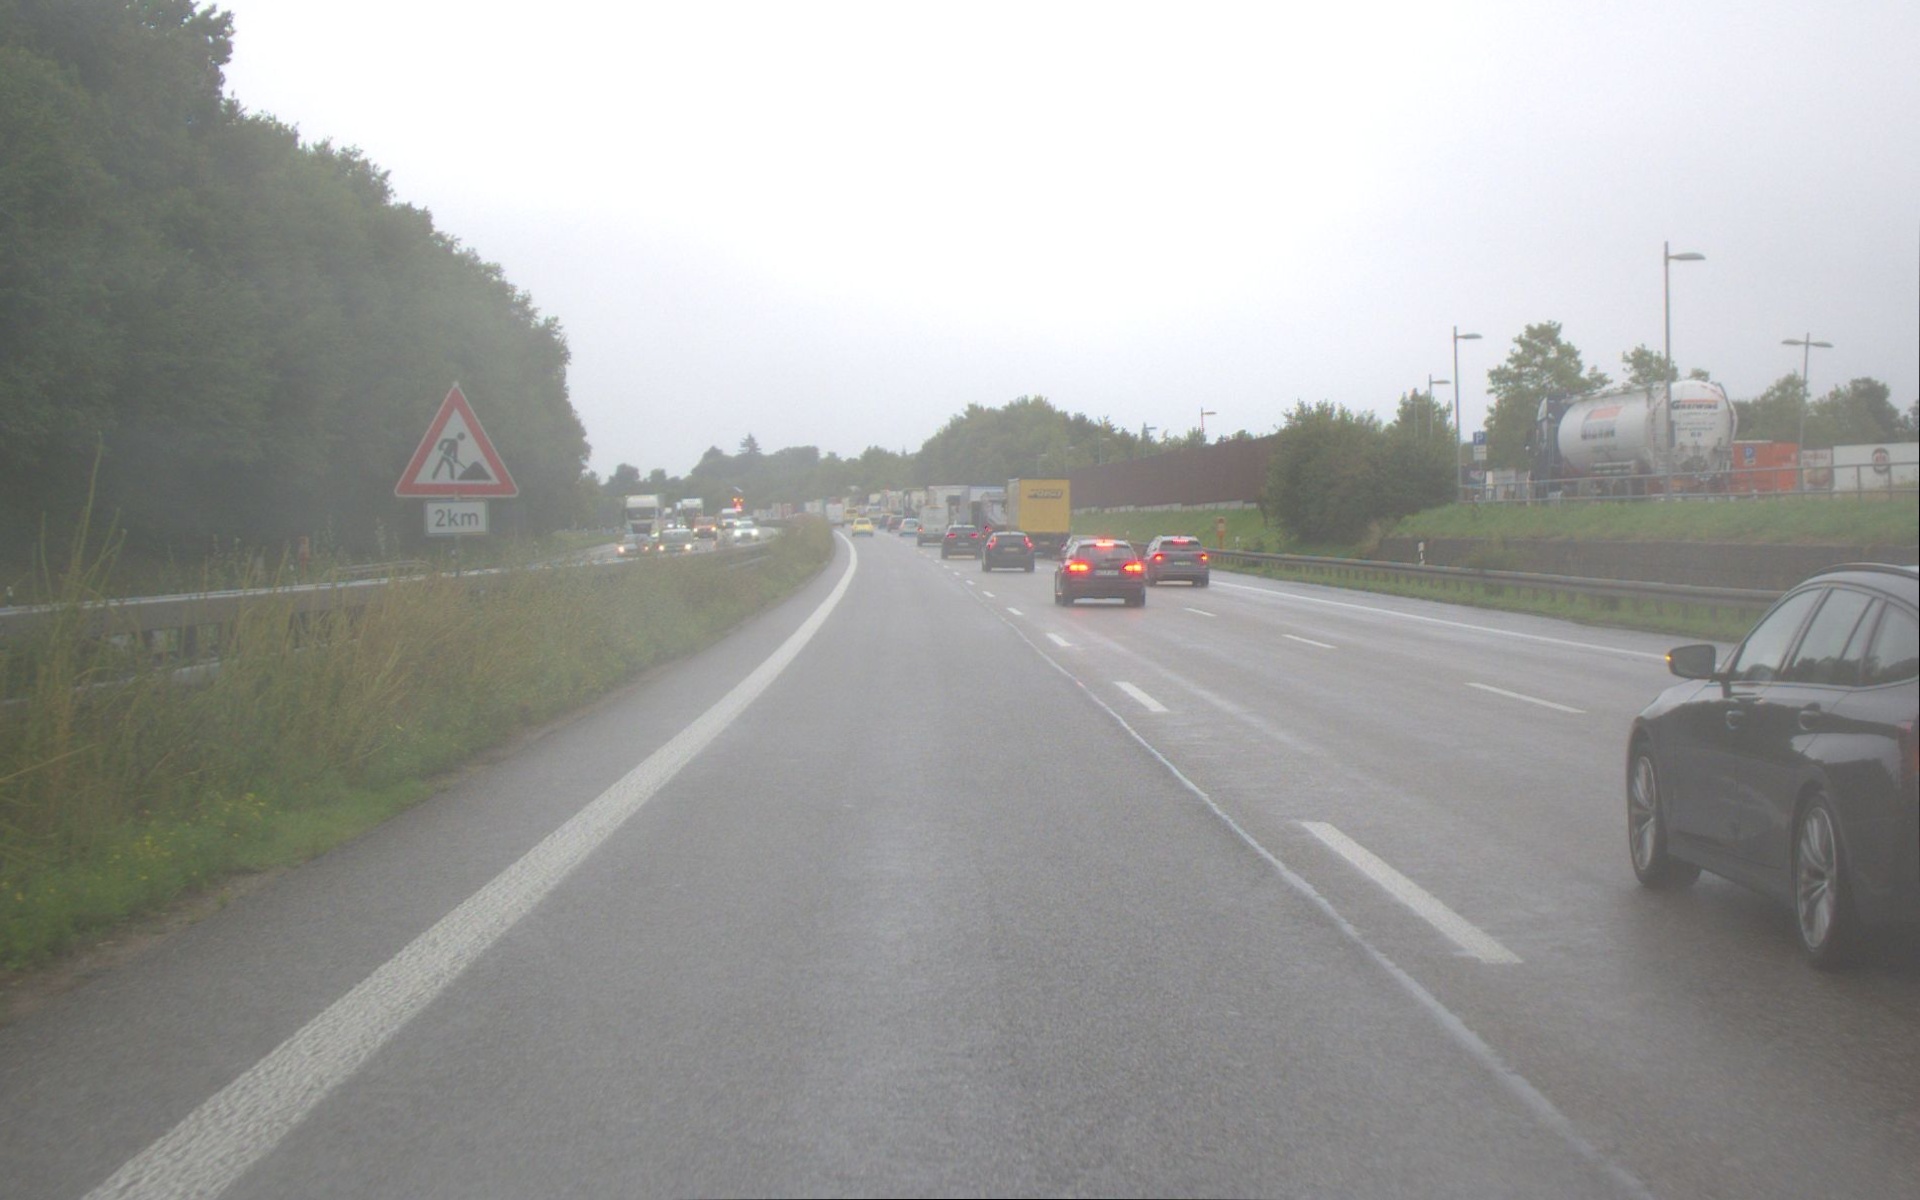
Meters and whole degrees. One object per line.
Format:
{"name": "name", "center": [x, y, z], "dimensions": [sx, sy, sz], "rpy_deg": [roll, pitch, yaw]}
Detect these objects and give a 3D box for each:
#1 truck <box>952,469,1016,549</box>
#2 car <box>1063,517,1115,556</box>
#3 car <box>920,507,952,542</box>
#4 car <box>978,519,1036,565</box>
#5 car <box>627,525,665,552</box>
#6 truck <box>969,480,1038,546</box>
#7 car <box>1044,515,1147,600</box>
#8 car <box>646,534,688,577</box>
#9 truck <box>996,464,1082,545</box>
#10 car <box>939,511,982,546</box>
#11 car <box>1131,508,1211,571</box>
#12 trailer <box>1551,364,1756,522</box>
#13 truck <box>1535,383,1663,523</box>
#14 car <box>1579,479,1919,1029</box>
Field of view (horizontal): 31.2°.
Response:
{"name": "truck", "center": [1.680, -6.499, 247.444], "dimensions": [4.287, 5.549, 12.240], "rpy_deg": [-1, 1, -1]}
{"name": "car", "center": [5.501, -2.711, 146.767], "dimensions": [1.993, 1.623, 4.000], "rpy_deg": [-1, 1, -1]}
{"name": "car", "center": [-1.559, -4.883, 223.473], "dimensions": [1.993, 2.197, 4.000], "rpy_deg": [-1, 1, -1]}
{"name": "car", "center": [1.710, -2.152, 127.165], "dimensions": [1.993, 1.623, 4.000], "rpy_deg": [-1, 1, -1]}
{"name": "car", "center": [-16.604, -3.278, 182.121], "dimensions": [1.678, 1.393, 4.000], "rpy_deg": [-1, 1, -1]}
{"name": "truck", "center": [2.682, -5.437, 216.275], "dimensions": [3.924, 3.967, 12.240], "rpy_deg": [-1, 1, -1]}
{"name": "car", "center": [2.913, -0.934, 74.524], "dimensions": [1.993, 1.755, 4.000], "rpy_deg": [-1, 1, -1]}
{"name": "car", "center": [-13.190, -2.020, 154.895], "dimensions": [1.603, 1.878, 3.572], "rpy_deg": [-1, 1, -1]}
{"name": "truck", "center": [4.053, -4.951, 179.536], "dimensions": [3.924, 3.967, 12.240], "rpy_deg": [-1, 1, -1]}
{"name": "car", "center": [-0.007, -3.443, 166.069], "dimensions": [1.993, 1.623, 4.000], "rpy_deg": [-1, 1, -1]}
{"name": "car", "center": [6.081, -1.762, 99.573], "dimensions": [1.993, 1.755, 4.000], "rpy_deg": [-1, 1, -1]}
{"name": "trailer", "center": [19.697, -4.345, 98.582], "dimensions": [2.985, 4.142, 12.957], "rpy_deg": [-1, 1, -1]}
{"name": "truck", "center": [19.610, -4.477, 105.759], "dimensions": [2.949, 4.131, 4.922], "rpy_deg": [-1, 1, 0]}
{"name": "car", "center": [3.915, 0.463, 13.086], "dimensions": [2.057, 1.665, 5.522], "rpy_deg": [1, 0, 0]}
